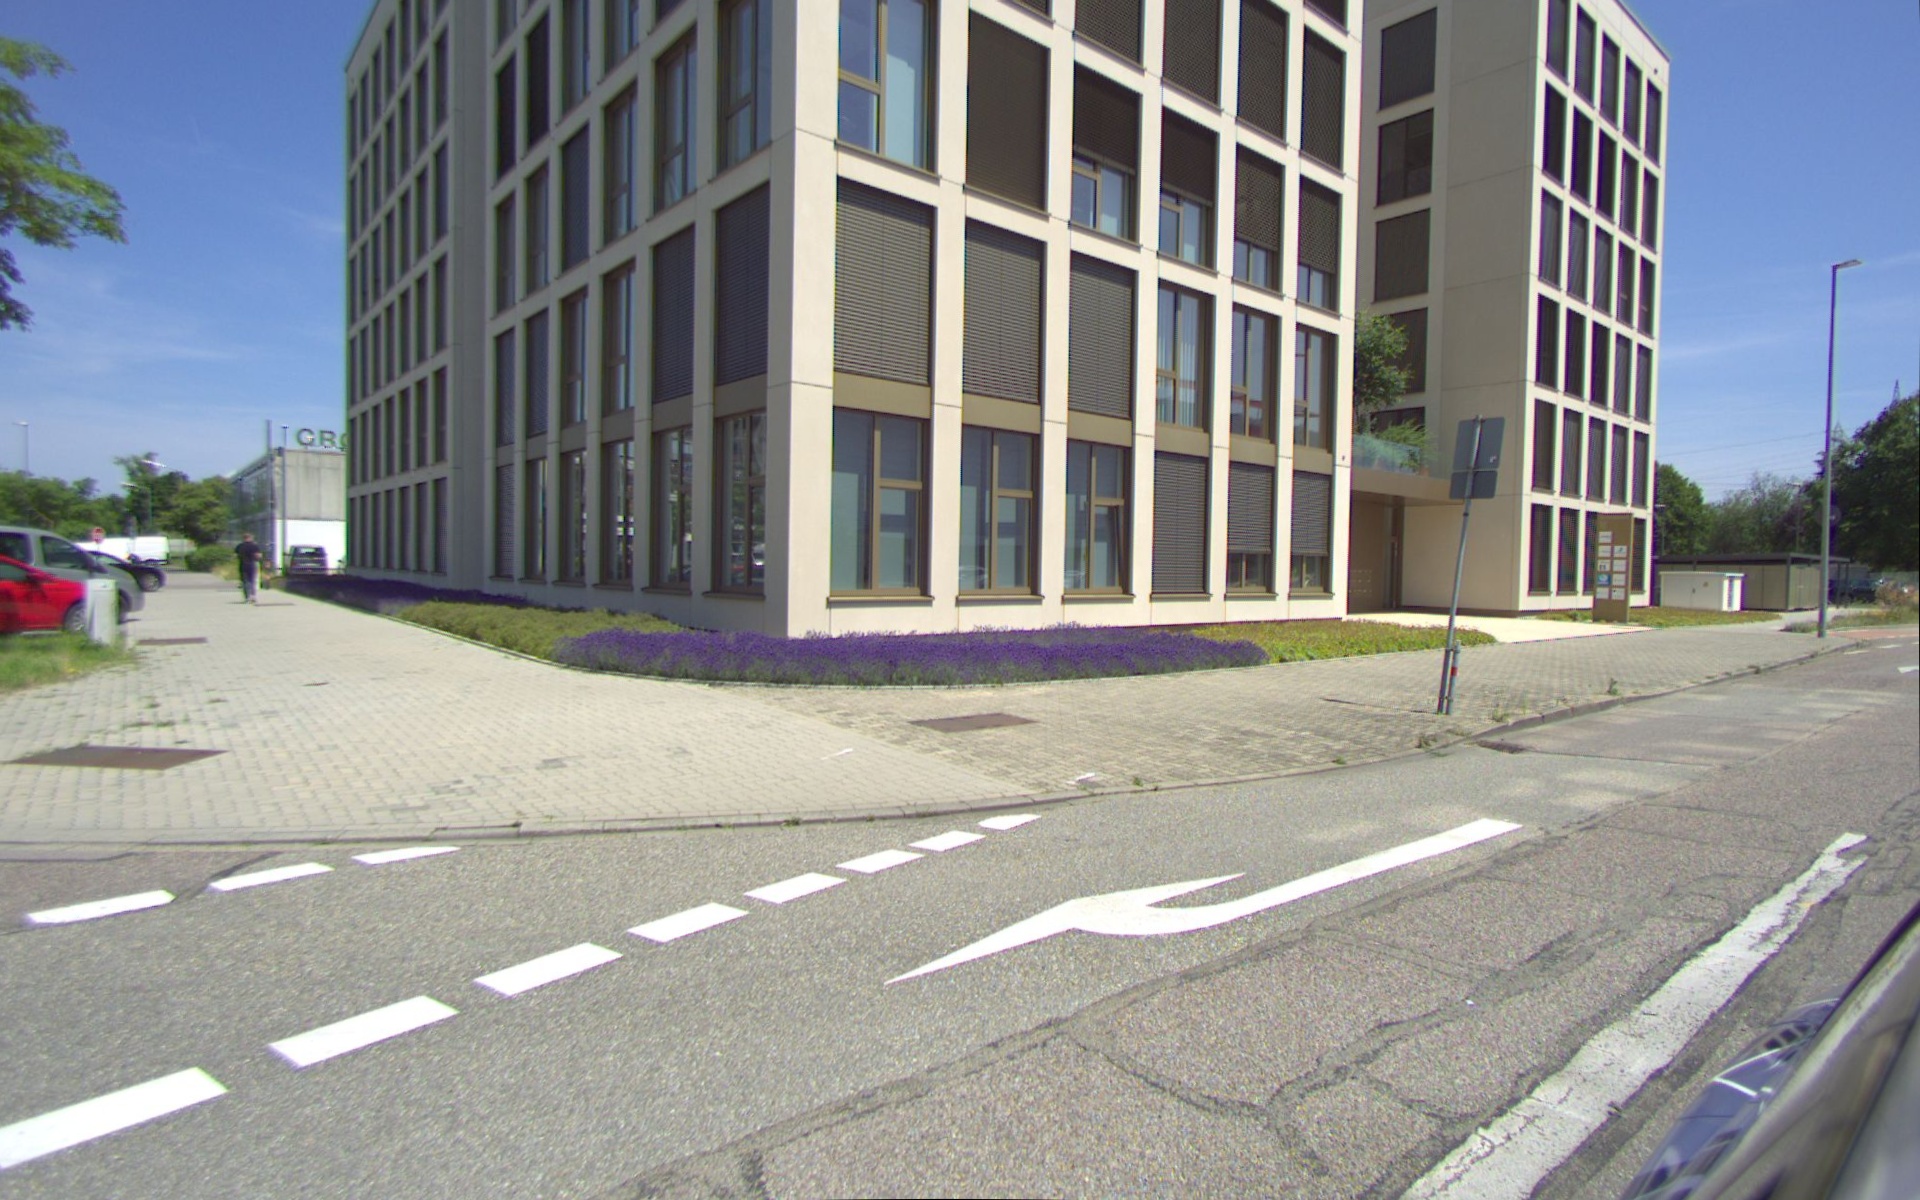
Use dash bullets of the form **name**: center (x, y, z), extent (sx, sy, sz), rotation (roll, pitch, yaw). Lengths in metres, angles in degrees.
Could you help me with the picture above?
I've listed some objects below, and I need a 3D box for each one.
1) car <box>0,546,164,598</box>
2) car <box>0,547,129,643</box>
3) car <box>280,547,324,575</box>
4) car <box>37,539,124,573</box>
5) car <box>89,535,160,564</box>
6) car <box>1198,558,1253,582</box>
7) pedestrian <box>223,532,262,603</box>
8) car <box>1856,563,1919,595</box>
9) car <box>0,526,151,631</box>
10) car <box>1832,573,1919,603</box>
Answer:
- **car**: center (-29.242, -0.974, 33.562), extent (1.792, 1.557, 4.131), rotation (0, 3, 19)
- **car**: center (-15.404, -0.085, 15.590), extent (1.584, 1.452, 3.991), rotation (1, 2, 9)
- **car**: center (-37.887, -2.278, 58.246), extent (1.758, 1.540, 3.574), rotation (-1, 3, -39)
- **car**: center (-54.957, -2.714, 63.342), extent (3.925, 2.038, 2.000), rotation (0, 2, -36)
- **car**: center (-67.520, -4.073, 81.881), extent (4.280, 2.146, 2.094), rotation (0, 2, -37)
- **car**: center (21.069, -2.379, 80.350), extent (3.921, 1.874, 2.002), rotation (0, 2, -31)
- **pedestrian**: center (-19.391, -0.893, 27.362), extent (0.758, 1.867, 0.869), rotation (-1, 3, -32)
- **car**: center (59.211, -1.316, 63.541), extent (3.958, 1.977, 1.984), rotation (2, 2, 25)
- **car**: center (-17.761, -0.425, 18.470), extent (1.676, 1.837, 4.899), rotation (3, 3, 7)
- **car**: center (55.721, -0.728, 61.341), extent (3.960, 1.682, 1.822), rotation (2, 3, 26)
